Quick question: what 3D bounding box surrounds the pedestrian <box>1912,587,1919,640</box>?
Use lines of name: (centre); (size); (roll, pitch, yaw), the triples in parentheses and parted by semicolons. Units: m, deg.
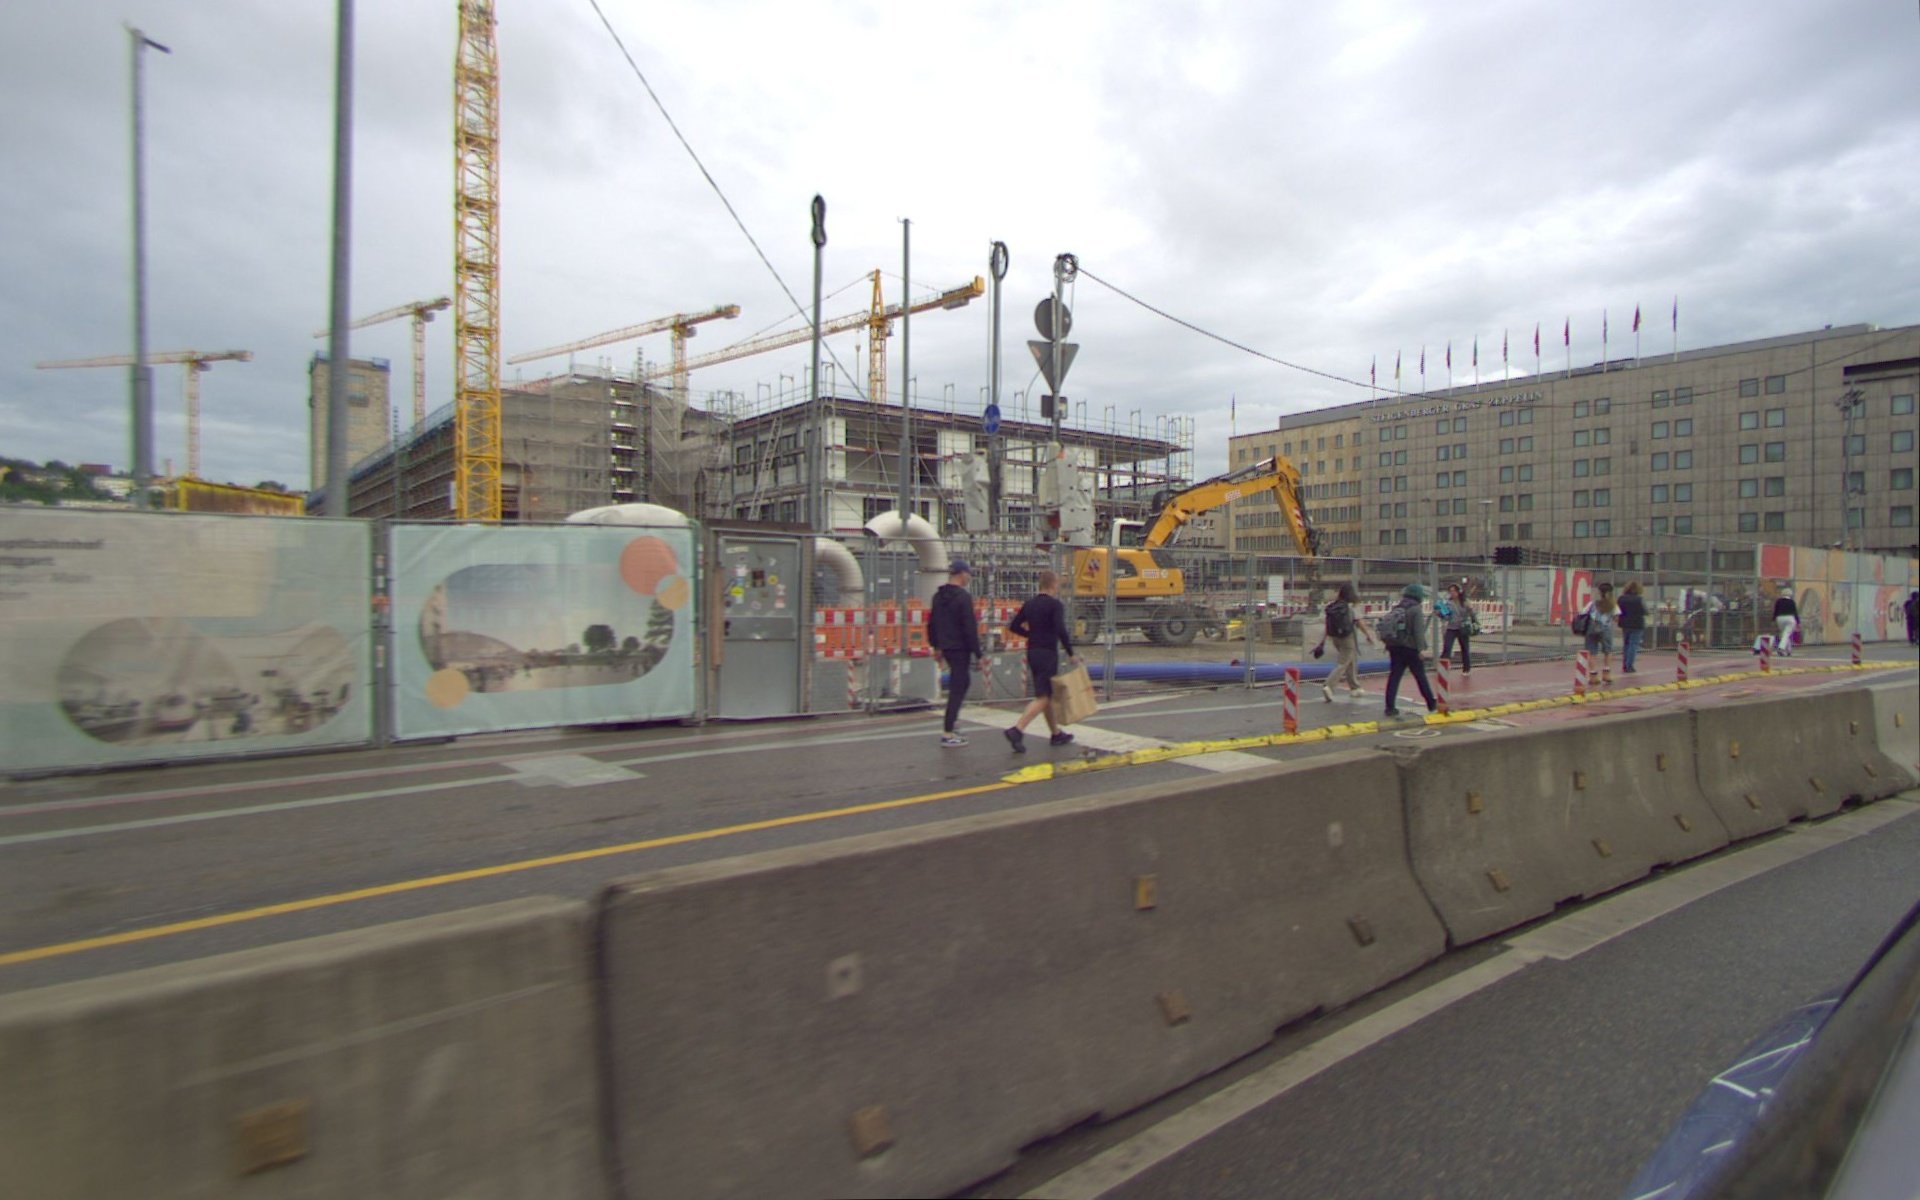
pedestrian: (32.654, 0.463, 33.756); (0.888, 1.783, 1.101); (0, 1, -32)

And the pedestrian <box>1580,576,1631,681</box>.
pedestrian: (10.958, 0.460, 17.183); (0.584, 1.729, 0.667); (2, 1, 43)

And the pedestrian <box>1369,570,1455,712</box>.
pedestrian: (5.667, 0.482, 12.700); (0.761, 1.712, 0.656); (0, 1, -35)

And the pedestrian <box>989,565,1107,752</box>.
pedestrian: (0.842, 0.512, 9.595); (0.647, 1.666, 0.932); (2, 1, 45)

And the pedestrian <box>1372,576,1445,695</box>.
pedestrian: (6.687, 0.503, 15.095); (0.761, 1.712, 0.656); (0, 1, -35)

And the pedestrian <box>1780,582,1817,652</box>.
pedestrian: (20.926, 0.409, 25.246); (0.647, 1.690, 0.754); (2, 1, 43)

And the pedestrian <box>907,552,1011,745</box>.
pedestrian: (-0.008, 0.430, 9.759); (0.647, 1.765, 0.753); (2, 1, 45)

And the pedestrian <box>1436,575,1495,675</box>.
pedestrian: (9.049, 0.425, 18.132); (0.676, 1.727, 0.745); (0, 1, -45)

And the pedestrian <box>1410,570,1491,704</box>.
pedestrian: (6.520, 0.467, 13.456); (0.761, 1.712, 0.656); (0, 1, -35)

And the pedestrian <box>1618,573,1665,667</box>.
pedestrian: (13.261, 0.364, 19.696); (0.647, 1.783, 0.574); (2, 1, 43)

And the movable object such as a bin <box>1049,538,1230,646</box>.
movable object such as a bin: (4.400, -0.202, 25.253); (4.047, 2.567, 2.001); (0, 0, -3)

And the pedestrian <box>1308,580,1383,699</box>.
pedestrian: (5.429, 0.524, 14.249); (0.668, 1.600, 0.888); (2, 1, 45)
